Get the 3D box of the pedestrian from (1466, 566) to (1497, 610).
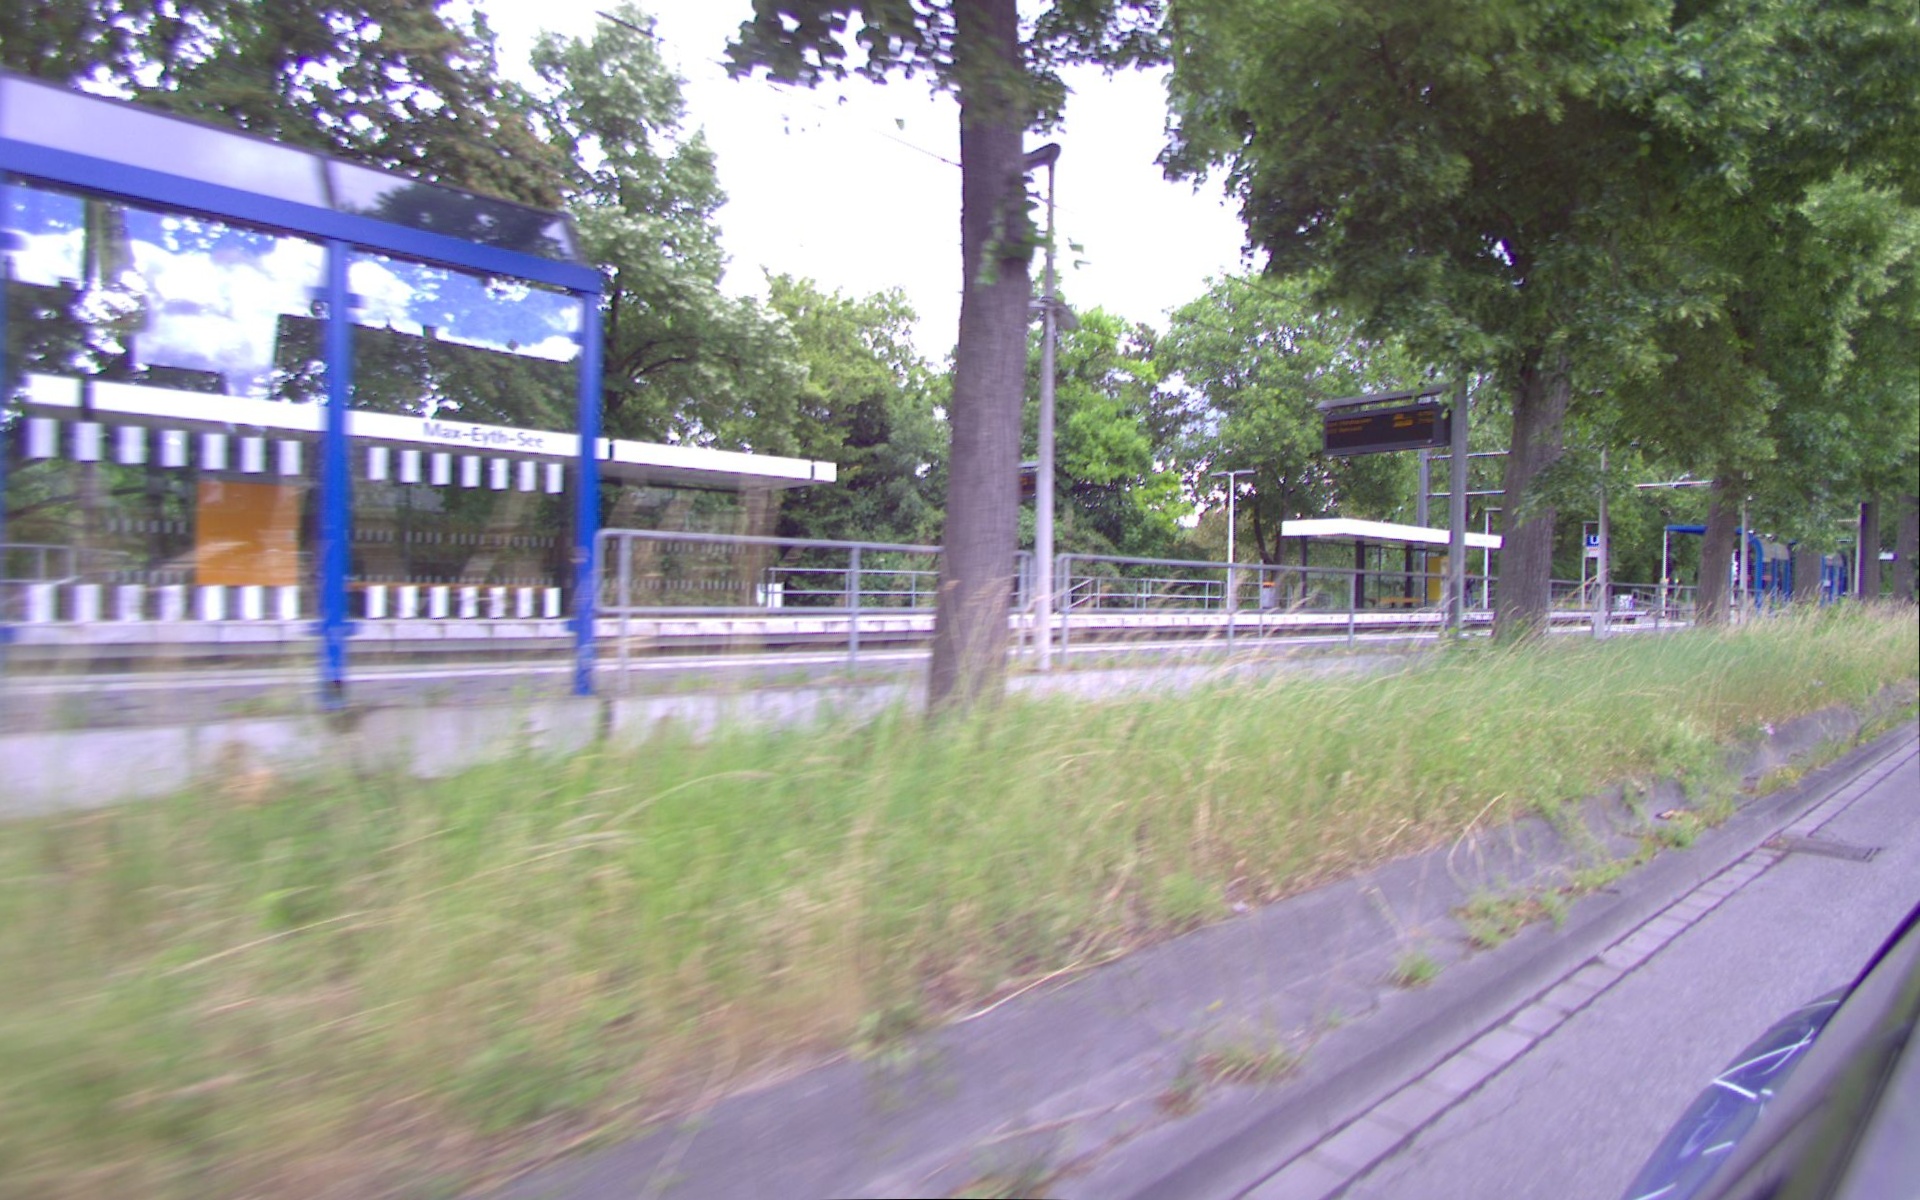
[{"bbox_3d":[18.633,-0.428,36.158,0.711,1.530,0.720,-1,0,-38],"label":"pedestrian"}]
